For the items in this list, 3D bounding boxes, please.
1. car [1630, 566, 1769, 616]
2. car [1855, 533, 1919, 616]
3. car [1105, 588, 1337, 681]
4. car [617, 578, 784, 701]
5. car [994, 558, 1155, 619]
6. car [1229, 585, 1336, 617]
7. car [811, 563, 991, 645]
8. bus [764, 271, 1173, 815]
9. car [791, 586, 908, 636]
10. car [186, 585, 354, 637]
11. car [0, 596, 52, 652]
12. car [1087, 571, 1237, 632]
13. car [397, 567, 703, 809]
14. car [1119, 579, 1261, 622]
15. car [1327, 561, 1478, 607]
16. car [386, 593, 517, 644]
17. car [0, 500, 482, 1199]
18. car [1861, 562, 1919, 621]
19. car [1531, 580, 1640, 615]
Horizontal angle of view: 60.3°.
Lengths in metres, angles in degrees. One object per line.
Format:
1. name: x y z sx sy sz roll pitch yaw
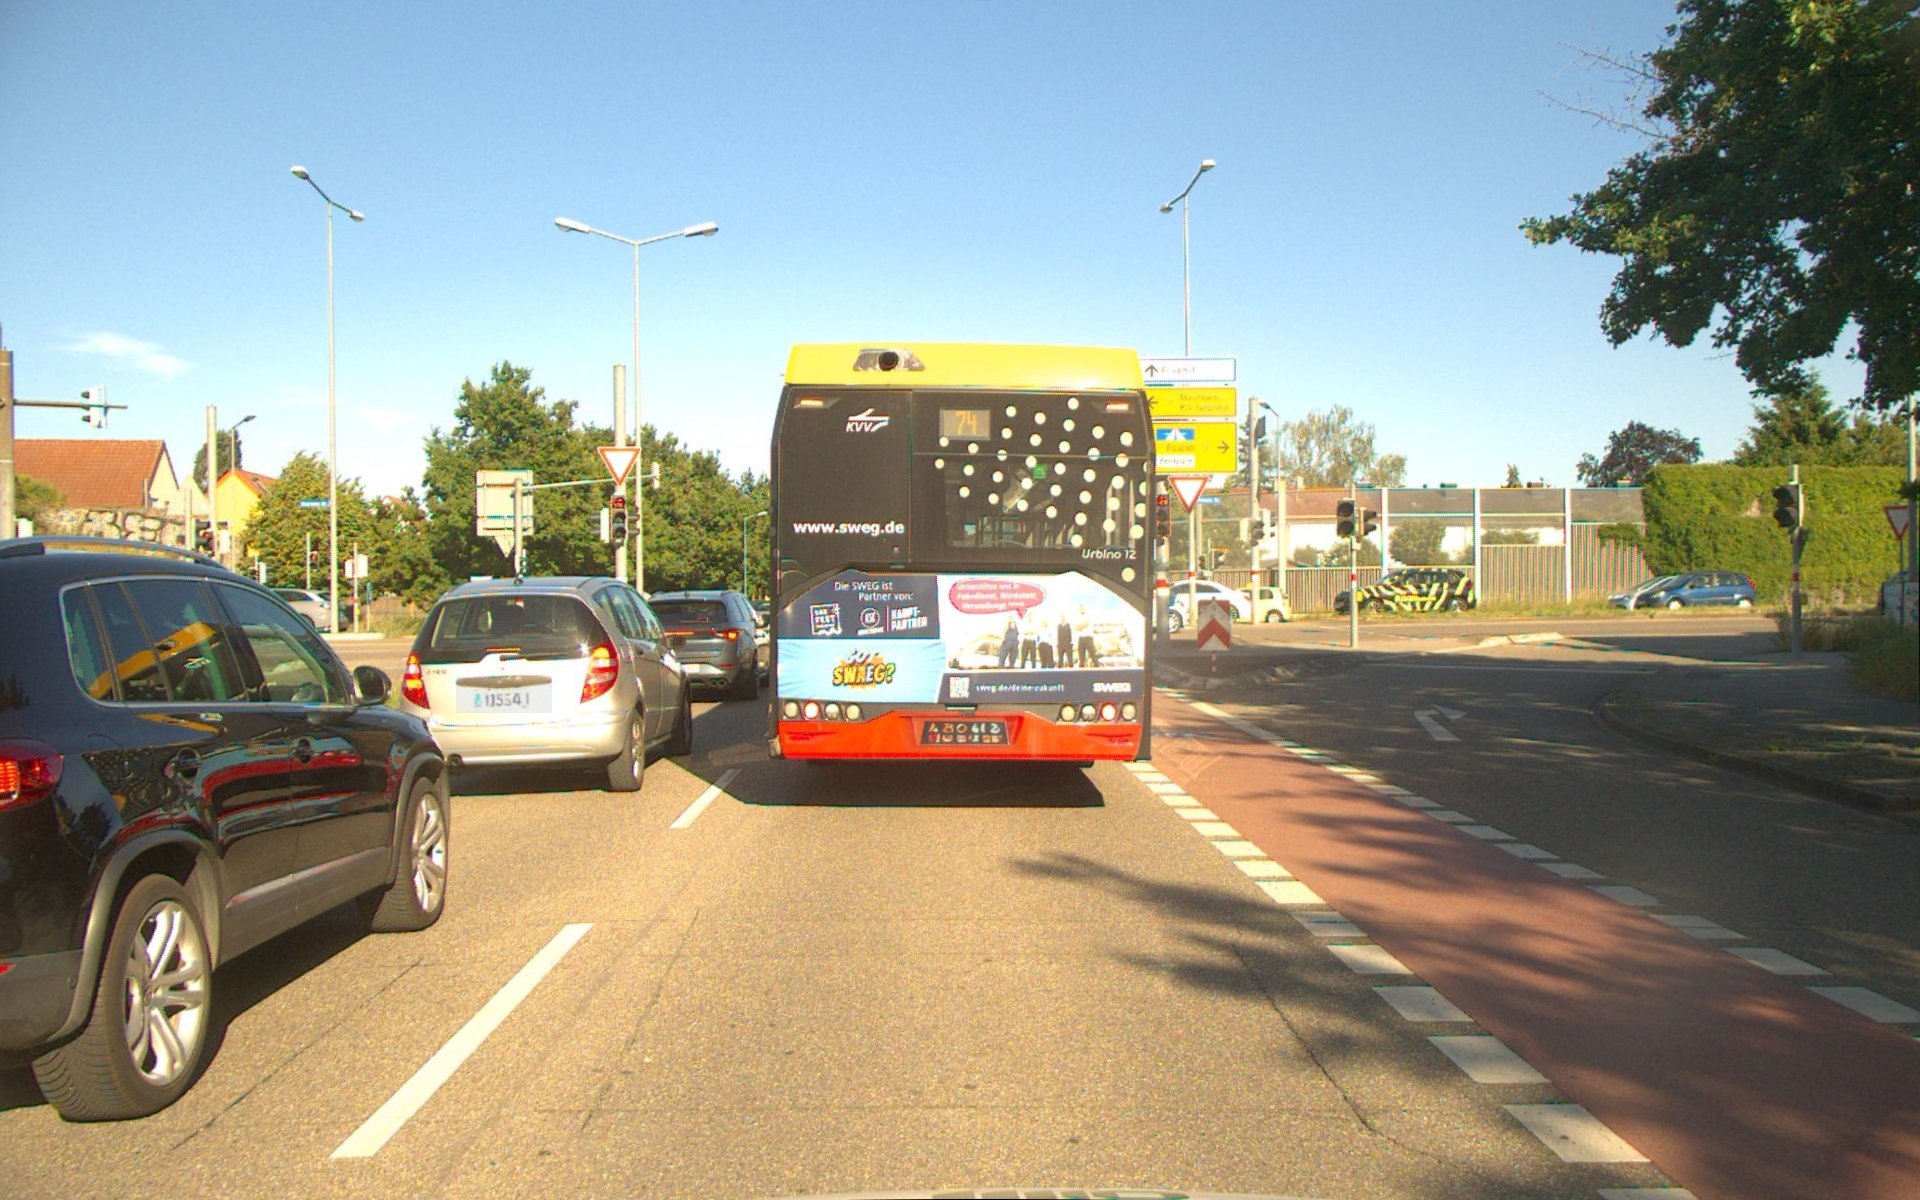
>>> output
1. car: 24.382 -0.276 54.596 3.911 1.580 1.693 1 -1 -8
2. car: 16.614 -0.389 27.440 3.355 1.318 1.448 1 -1 -26
3. car: 4.037 0.507 25.769 3.447 1.325 1.576 1 1 8
4. car: -3.428 0.504 22.444 1.555 1.511 3.683 -1 0 2
5. car: 3.090 -0.303 45.081 4.139 1.590 1.761 1 -1 -6
6. car: 12.083 0.042 62.022 3.682 1.156 1.573 0 0 -4
7. car: -1.395 0.085 38.416 4.035 1.832 1.455 -1 0 -9
8. bus: -0.029 -0.405 16.393 2.543 3.393 11.981 1 0 -1
9. car: -3.785 0.372 56.458 3.910 1.640 1.693 -1 0 -7
10. car: -20.330 0.330 48.885 4.335 1.485 1.570 1 -1 -11
11. car: -25.510 0.599 42.141 3.775 1.409 1.679 1 -1 -10
12. car: 5.218 0.030 42.959 3.600 1.511 1.591 -1 0 -7
13. car: -3.198 0.573 13.669 1.719 1.648 4.031 -1 2 -3
14. car: 7.243 0.013 52.207 4.204 1.325 1.573 0 0 -4
15. car: 13.187 -0.469 49.423 4.077 1.325 1.573 1 -1 -4
16. car: -17.015 0.601 55.467 3.910 1.640 1.693 -1 0 -7
17. car: -3.180 0.656 5.946 1.784 1.703 4.002 -2 0 -1
18. car: 25.565 -0.257 42.152 4.374 1.466 1.681 -1 1 -5
19. car: 22.968 -0.096 60.774 3.511 1.287 1.353 0 0 -3
